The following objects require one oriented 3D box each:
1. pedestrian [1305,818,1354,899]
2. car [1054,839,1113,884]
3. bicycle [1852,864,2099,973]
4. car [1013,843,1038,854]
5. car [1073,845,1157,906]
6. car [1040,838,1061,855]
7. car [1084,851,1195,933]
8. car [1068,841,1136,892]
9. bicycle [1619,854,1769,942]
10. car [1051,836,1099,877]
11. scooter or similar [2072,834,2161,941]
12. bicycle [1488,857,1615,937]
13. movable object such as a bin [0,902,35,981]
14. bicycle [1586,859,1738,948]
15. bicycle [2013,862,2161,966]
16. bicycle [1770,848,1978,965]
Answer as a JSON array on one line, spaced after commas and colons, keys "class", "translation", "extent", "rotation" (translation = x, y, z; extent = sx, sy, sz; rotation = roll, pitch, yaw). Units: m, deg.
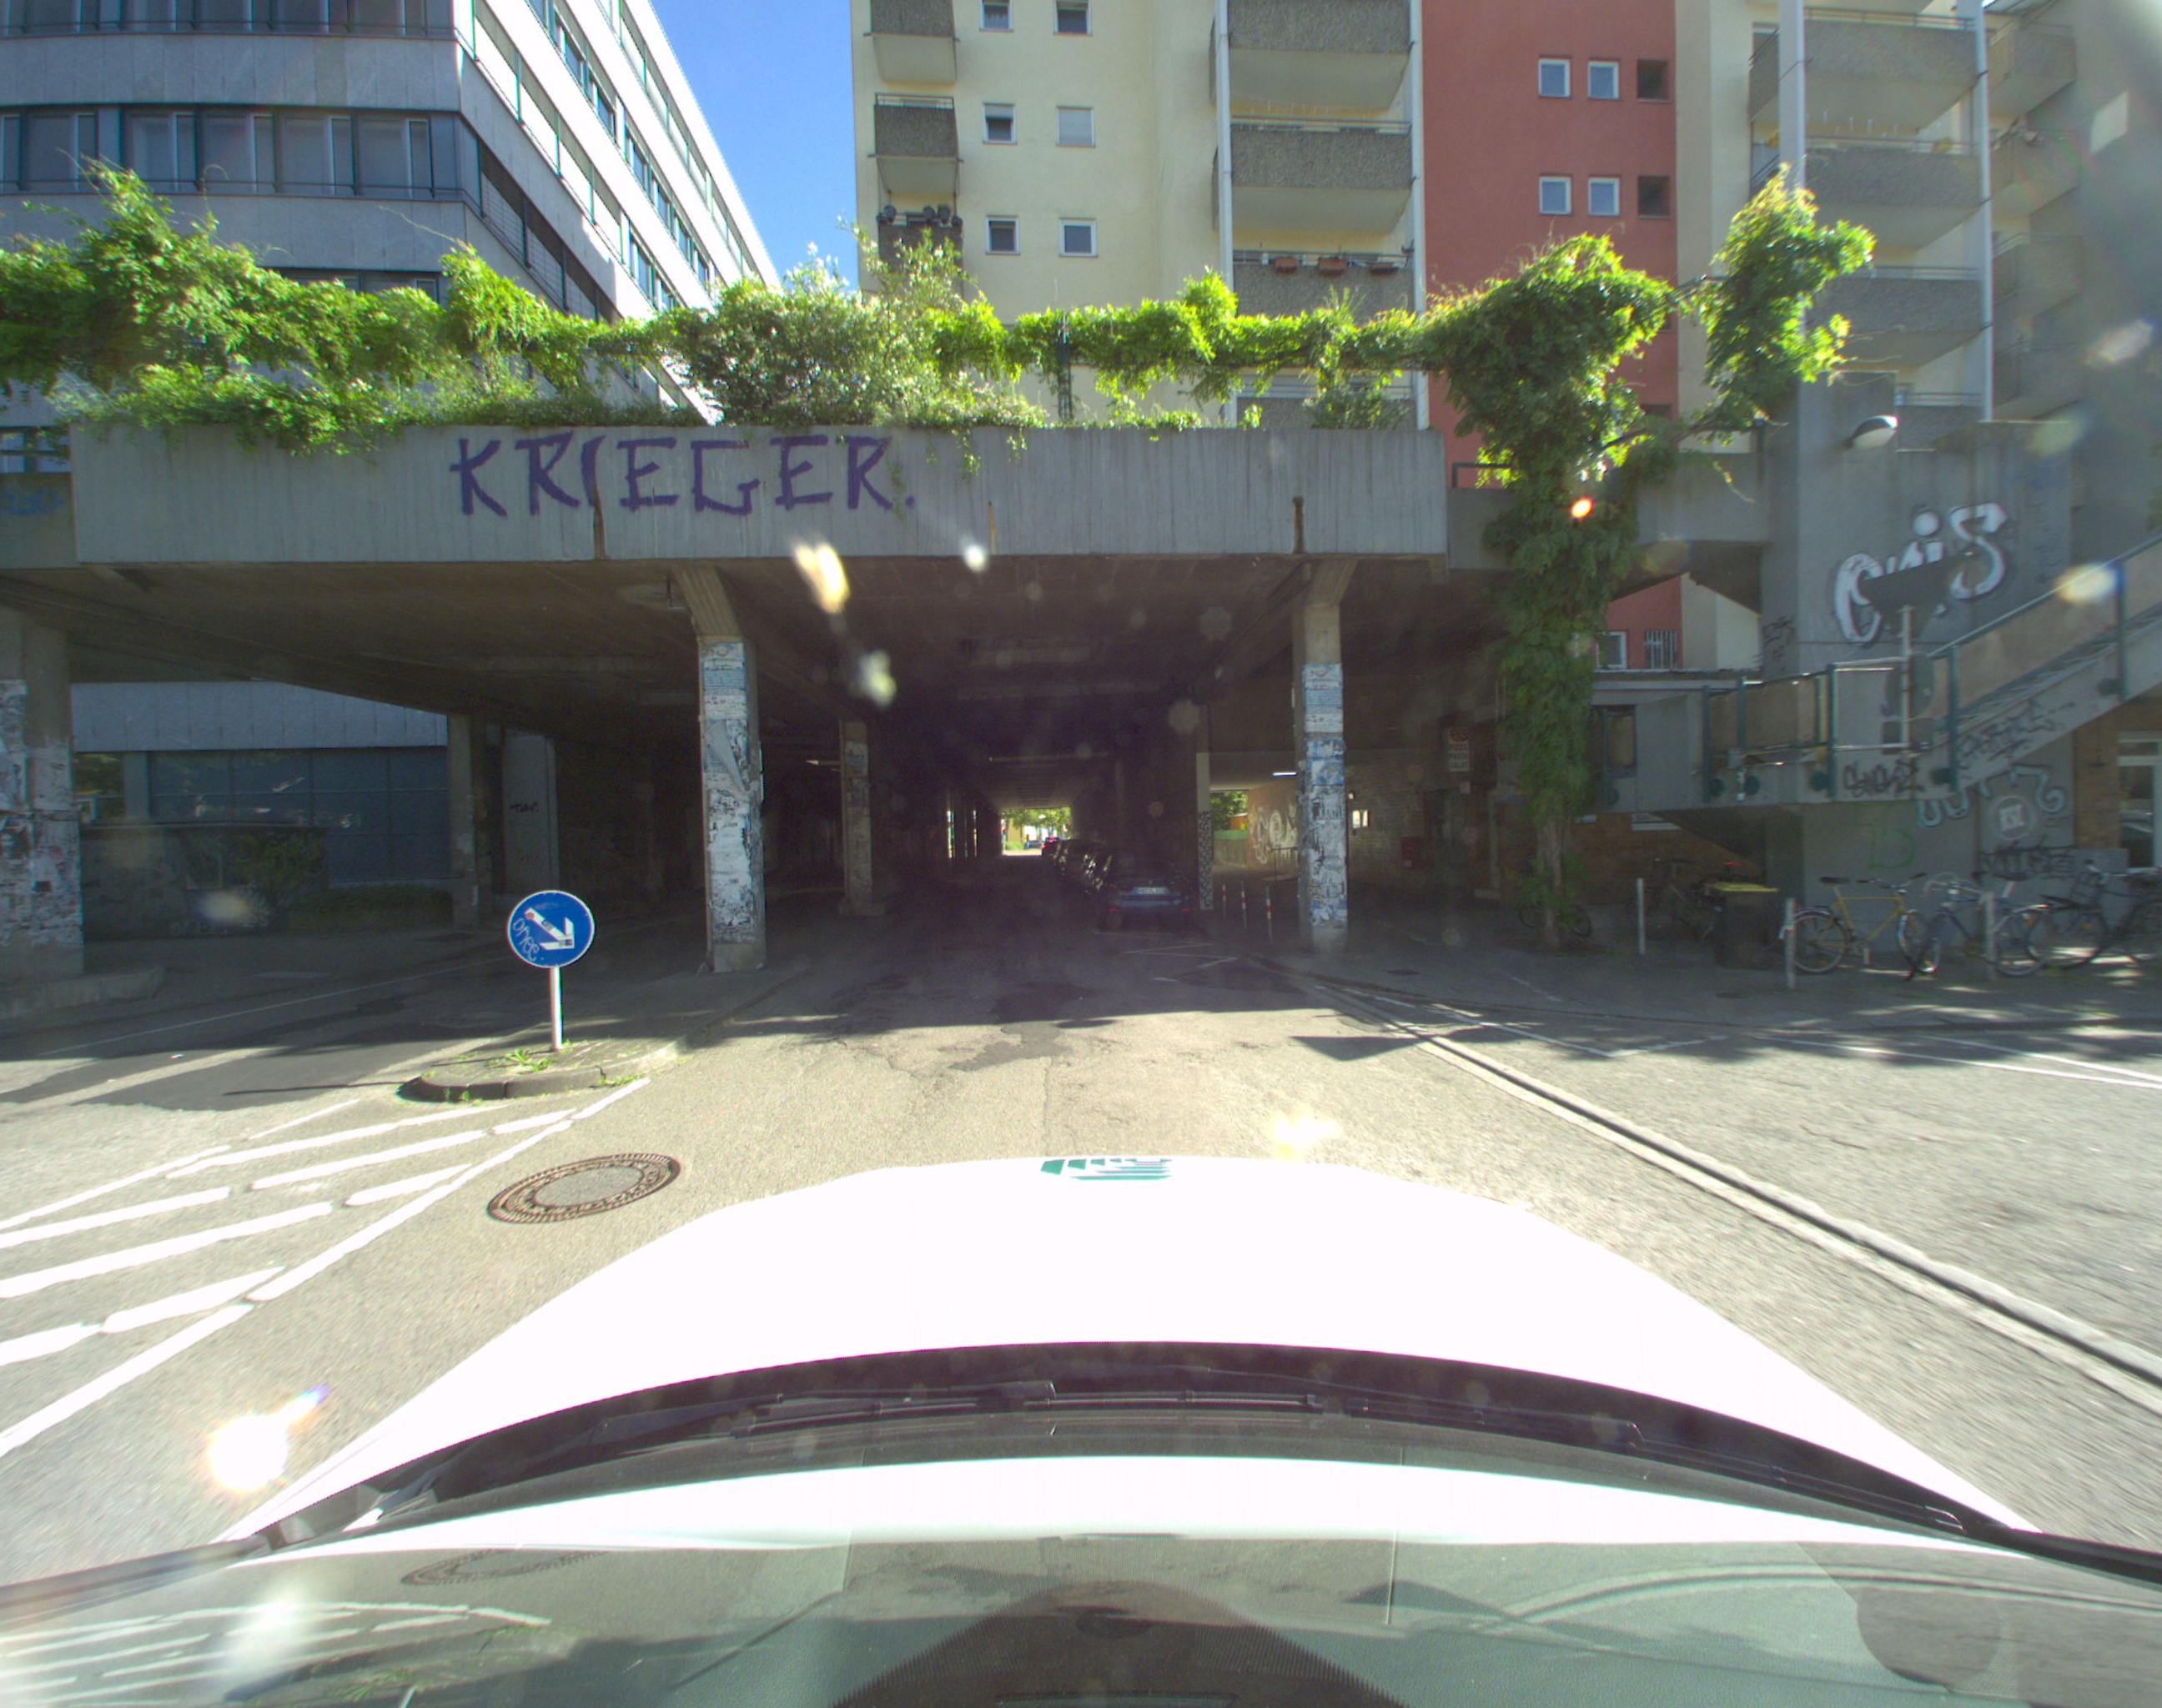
[{"class": "pedestrian", "translation": [5.410, 0.086, 17.753], "extent": [0.792, 1.699, 0.757], "rotation": [-2, 3, -5]}, {"class": "car", "translation": [0.022, 0.251, 30.784], "extent": [1.728, 1.546, 4.147], "rotation": [-2, 1, -6]}, {"class": "bicycle", "translation": [9.128, 0.659, 8.366], "extent": [1.784, 1.030, 0.417], "rotation": [-2, 4, 12]}, {"class": "car", "translation": [-9.373, -0.918, 136.692], "extent": [3.973, 1.574, 1.640], "rotation": [-2, 1, 0]}, {"class": "car", "translation": [0.804, 0.509, 21.721], "extent": [1.758, 1.410, 4.057], "rotation": [-2, 1, -4]}, {"class": "car", "translation": [-2.771, -0.701, 74.110], "extent": [1.822, 1.500, 4.207], "rotation": [-2, 1, -2]}, {"class": "car", "translation": [1.058, 0.659, 16.804], "extent": [1.846, 1.433, 4.604], "rotation": [0, 1, -2]}, {"class": "car", "translation": [0.619, 0.370, 26.516], "extent": [1.602, 1.487, 3.628], "rotation": [-2, 1, -8]}, {"class": "bicycle", "translation": [8.162, 0.541, 10.945], "extent": [0.414, 1.001, 1.796], "rotation": [-3, 3, -11]}, {"class": "car", "translation": [-0.331, 0.064, 36.362], "extent": [1.849, 1.665, 4.365], "rotation": [-1, 2, -4]}, {"class": "scooter or similar", "translation": [13.422, 0.401, 9.724], "extent": [0.628, 1.277, 1.968], "rotation": [-2, 1, -8]}, {"class": "bicycle", "translation": [6.671, 0.569, 11.665], "extent": [0.483, 1.001, 1.795], "rotation": [-3, 1, -11]}, {"class": "movable object such as a bin", "translation": [-13.064, 1.050, 9.541], "extent": [0.715, 0.905, 0.640], "rotation": [-2, 1, -6]}, {"class": "bicycle", "translation": [7.538, 0.607, 10.640], "extent": [0.416, 1.001, 1.604], "rotation": [-4, 3, -26]}, {"class": "bicycle", "translation": [10.982, 0.620, 8.539], "extent": [1.787, 1.000, 0.416], "rotation": [-2, 4, 5]}, {"class": "bicycle", "translation": [8.814, 0.576, 9.111], "extent": [1.615, 1.237, 0.463], "rotation": [-2, 0, 18]}]
